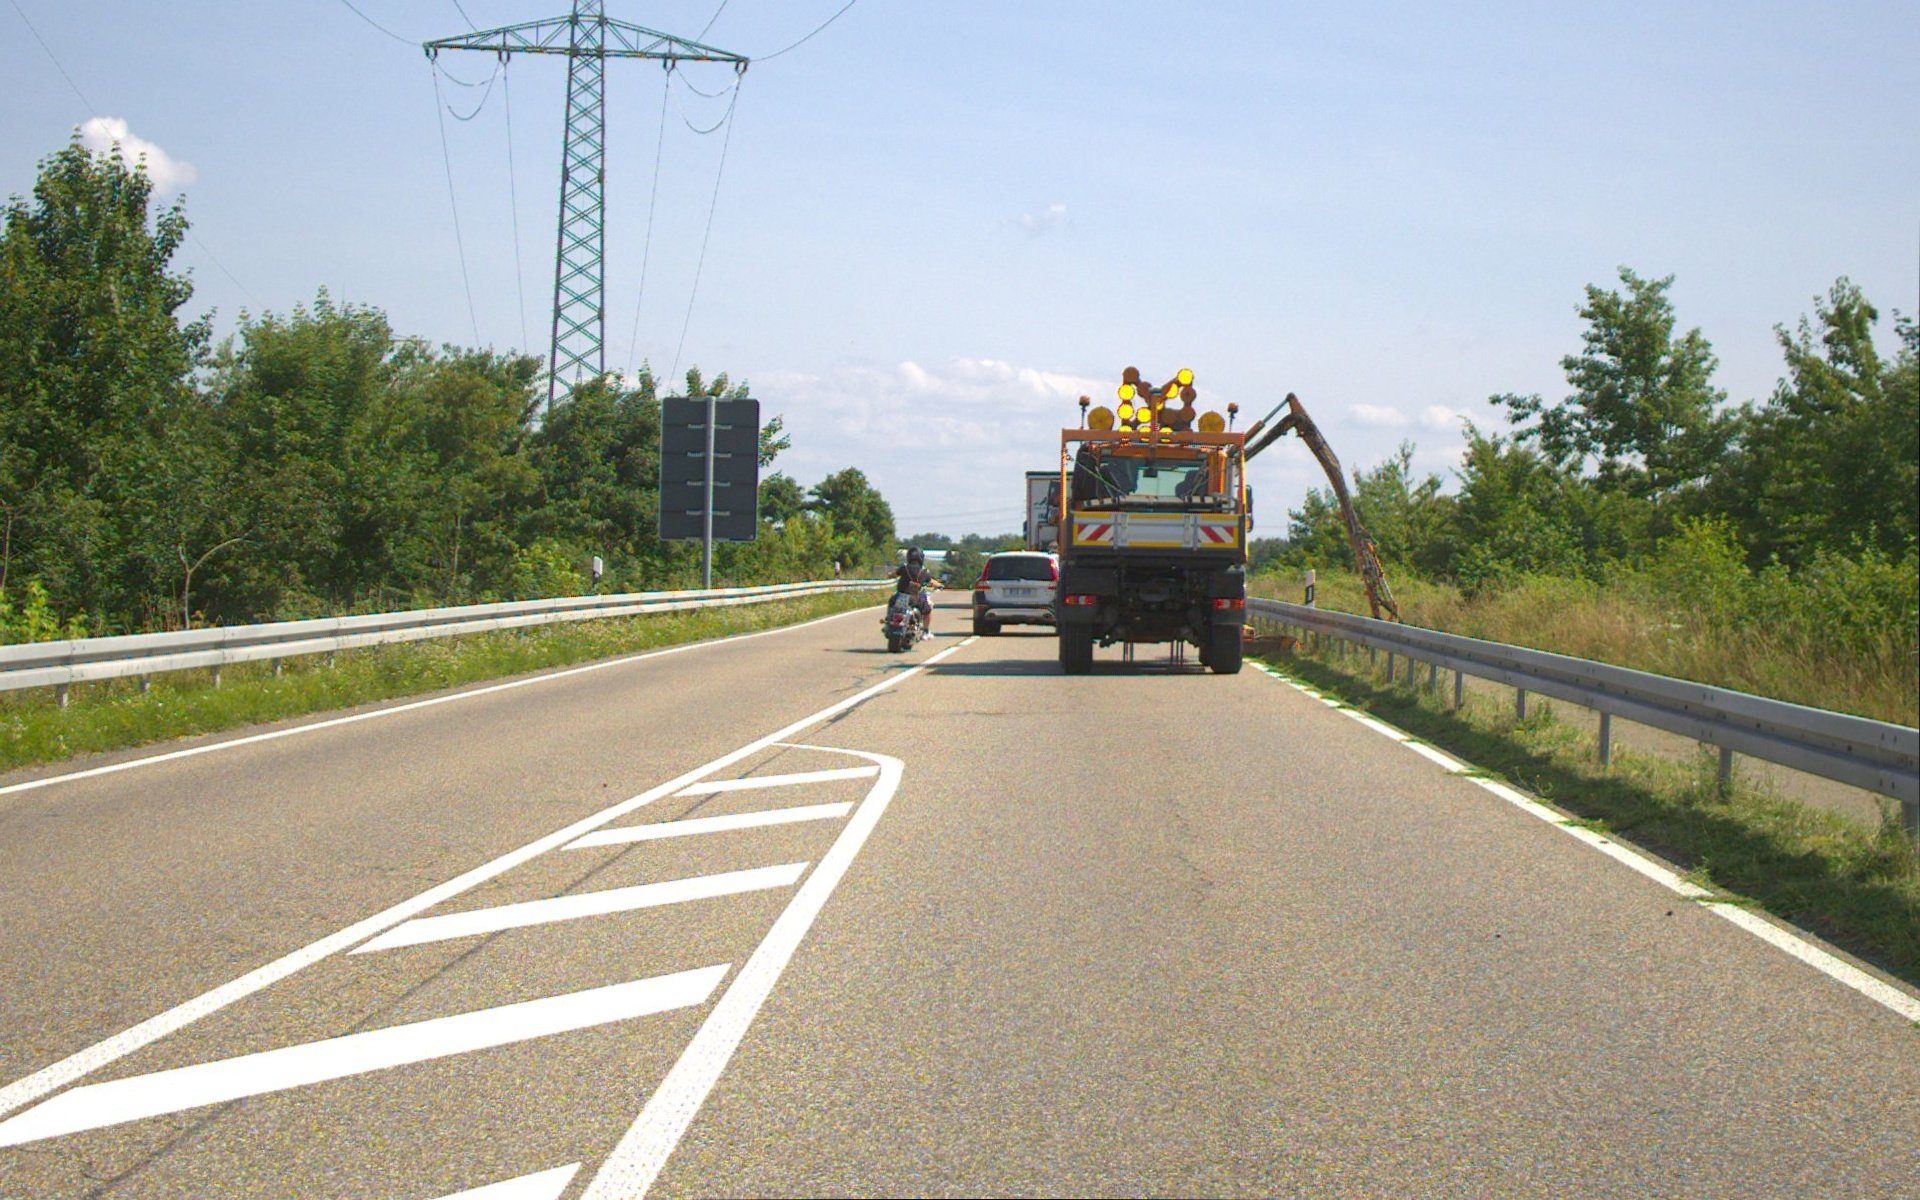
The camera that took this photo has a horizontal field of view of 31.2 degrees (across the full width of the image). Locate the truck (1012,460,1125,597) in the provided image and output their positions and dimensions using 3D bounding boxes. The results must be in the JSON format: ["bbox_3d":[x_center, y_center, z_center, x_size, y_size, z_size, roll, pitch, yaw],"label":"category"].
[{"bbox_3d":[3.341,-2.118,104.816,3.242,3.965,9.443,1,0,2],"label":"truck"}]

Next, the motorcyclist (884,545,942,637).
[{"bbox_3d":[-0.688,-0.133,50.366,0.780,1.321,0.813,1,1,2],"label":"motorcyclist"}]

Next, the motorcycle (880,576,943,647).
[{"bbox_3d":[-0.703,0.157,50.351,0.780,0.972,2.361,1,1,2],"label":"motorcycle"}]

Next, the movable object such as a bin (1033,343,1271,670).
[{"bbox_3d":[2.489,-1.195,45.407,2.753,3.826,9.444,1,1,3],"label":"movable object such as a bin"}]

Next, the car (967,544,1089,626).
[{"bbox_3d":[1.297,-0.306,63.910,1.826,1.446,3.999,1,1,7],"label":"car"}]
